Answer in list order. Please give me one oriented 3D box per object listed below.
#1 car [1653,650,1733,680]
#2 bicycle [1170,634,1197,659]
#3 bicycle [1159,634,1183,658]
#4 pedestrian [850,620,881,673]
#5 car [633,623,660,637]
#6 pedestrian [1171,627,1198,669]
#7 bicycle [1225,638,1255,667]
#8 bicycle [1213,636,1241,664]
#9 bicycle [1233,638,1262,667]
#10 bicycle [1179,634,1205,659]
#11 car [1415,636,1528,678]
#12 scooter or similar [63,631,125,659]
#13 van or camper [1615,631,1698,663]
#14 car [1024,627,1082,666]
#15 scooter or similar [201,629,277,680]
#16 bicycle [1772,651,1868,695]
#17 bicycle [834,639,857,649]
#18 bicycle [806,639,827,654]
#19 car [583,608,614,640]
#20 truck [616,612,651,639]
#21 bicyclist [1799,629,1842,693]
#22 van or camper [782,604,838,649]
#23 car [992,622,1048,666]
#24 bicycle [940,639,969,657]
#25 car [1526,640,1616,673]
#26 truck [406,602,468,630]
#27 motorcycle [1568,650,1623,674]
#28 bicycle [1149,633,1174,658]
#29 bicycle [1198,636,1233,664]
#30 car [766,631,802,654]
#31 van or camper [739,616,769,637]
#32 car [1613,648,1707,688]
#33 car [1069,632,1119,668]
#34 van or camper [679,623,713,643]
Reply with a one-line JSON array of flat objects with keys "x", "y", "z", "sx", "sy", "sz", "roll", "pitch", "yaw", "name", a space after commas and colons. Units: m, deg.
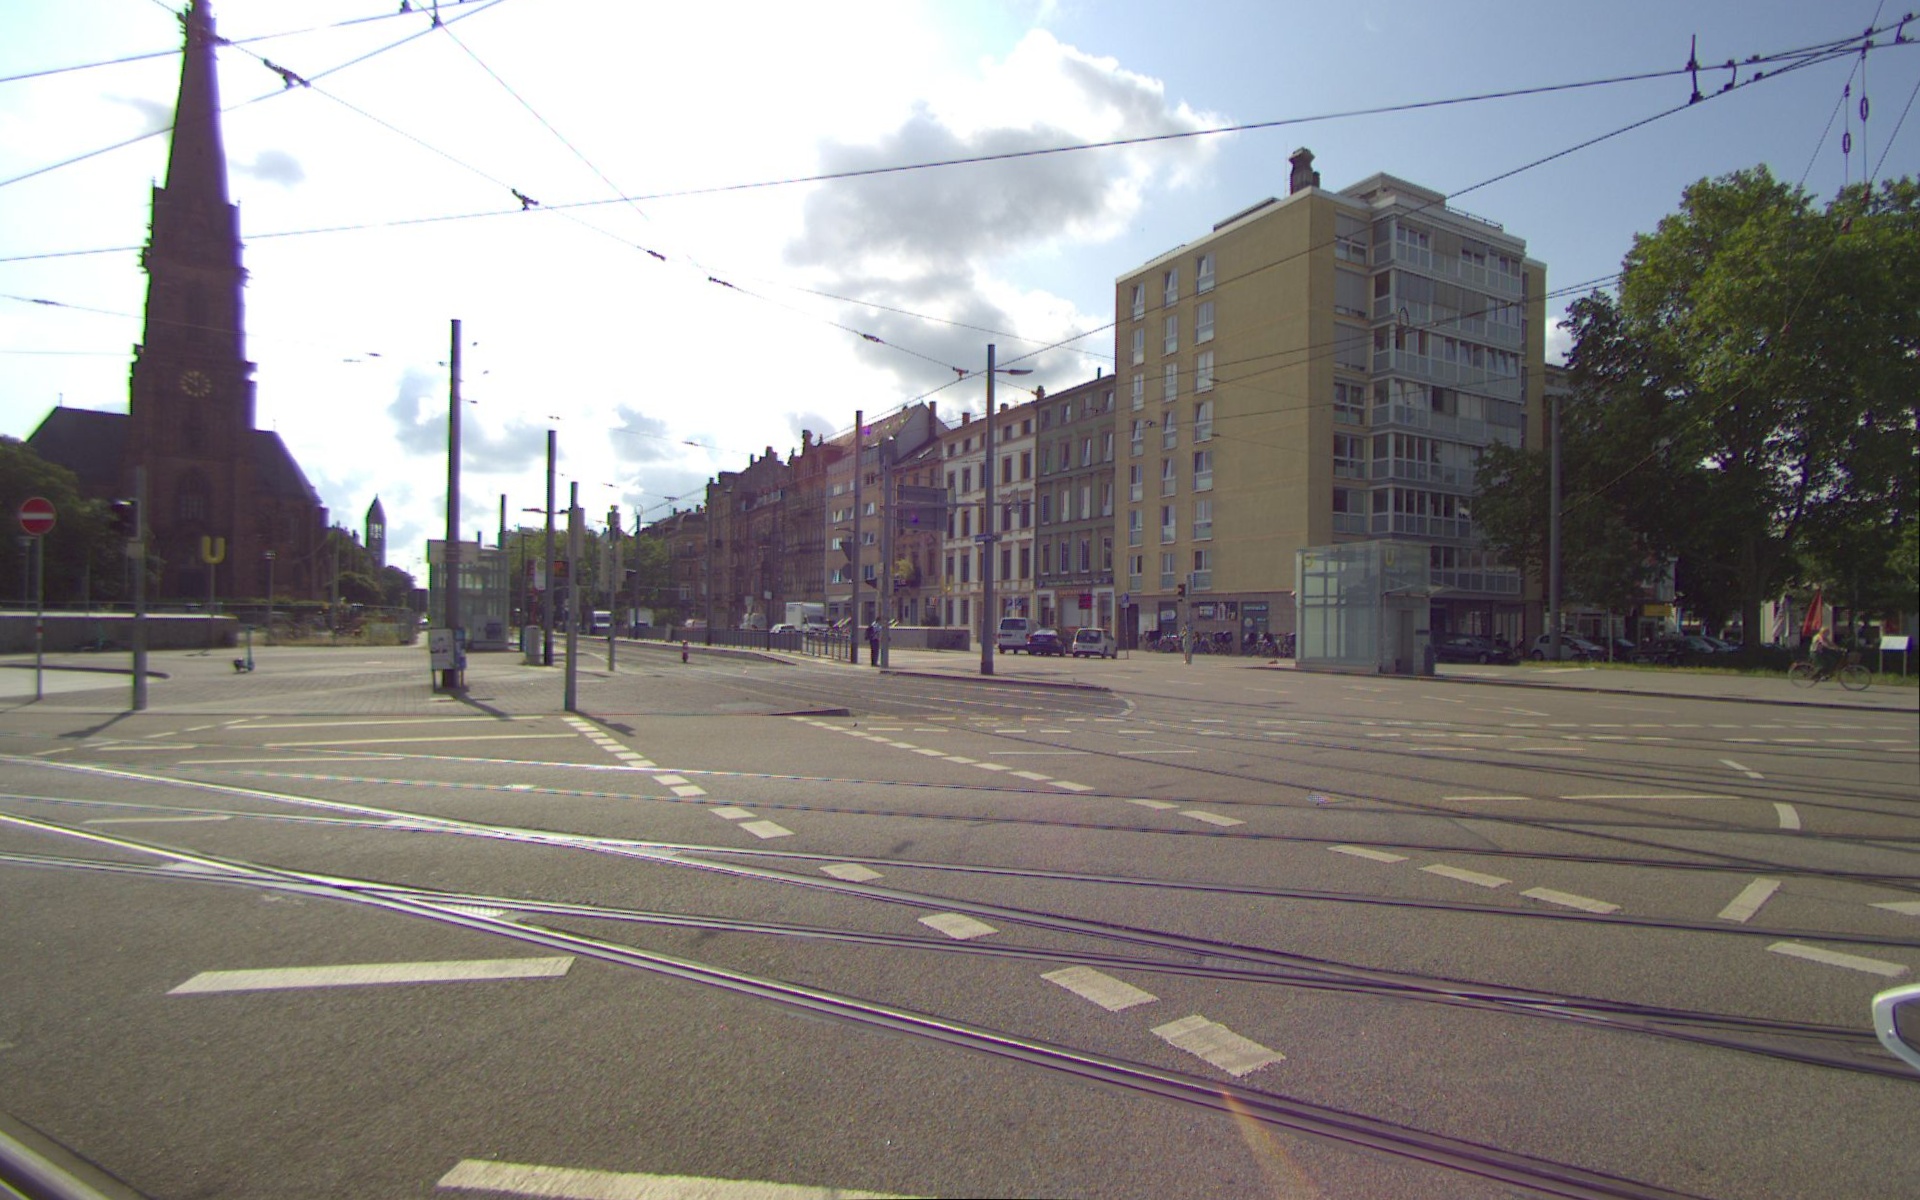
[{"x": 44.562, "y": 3.919, "z": 61.128, "sx": 1.644, "sy": 1.615, "sz": 3.597, "roll": 2, "pitch": -1, "yaw": -25, "name": "car"}, {"x": 12.241, "y": 2.556, "z": 55.127, "sx": 0.541, "sy": 1.218, "sz": 1.635, "roll": 0, "pitch": 4, "yaw": -24, "name": "bicycle"}, {"x": 11.947, "y": 2.587, "z": 56.919, "sx": 0.481, "sy": 1.218, "sz": 1.635, "roll": 0, "pitch": 4, "yaw": -24, "name": "bicycle"}, {"x": -3.228, "y": 1.572, "z": 34.277, "sx": 0.835, "sy": 1.696, "sz": 0.788, "roll": -2, "pitch": 4, "yaw": -31, "name": "pedestrian"}, {"x": -34.266, "y": 3.253, "z": 109.896, "sx": 1.977, "sy": 1.528, "sz": 3.968, "roll": 2, "pitch": -2, "yaw": -30, "name": "car"}, {"x": 9.531, "y": 2.030, "z": 42.630, "sx": 0.773, "sy": 1.783, "sz": 0.992, "roll": 0, "pitch": -2, "yaw": 37, "name": "pedestrian"}, {"x": 14.402, "y": 2.679, "z": 51.669, "sx": 0.524, "sy": 1.289, "sz": 1.635, "roll": 0, "pitch": 4, "yaw": -24, "name": "bicycle"}, {"x": 14.126, "y": 2.639, "z": 53.123, "sx": 0.481, "sy": 1.289, "sz": 1.635, "roll": 0, "pitch": 4, "yaw": -24, "name": "bicycle"}, {"x": 14.869, "y": 2.694, "z": 51.928, "sx": 0.481, "sy": 1.289, "sz": 1.635, "roll": 0, "pitch": 4, "yaw": -24, "name": "bicycle"}, {"x": 12.759, "y": 2.571, "z": 55.332, "sx": 0.481, "sy": 1.218, "sz": 1.635, "roll": 0, "pitch": 4, "yaw": -24, "name": "bicycle"}, {"x": 23.997, "y": 2.649, "z": 47.299, "sx": 1.977, "sy": 1.606, "sz": 4.356, "roll": 2, "pitch": 0, "yaw": -30, "name": "car"}, {"x": -30.572, "y": 1.577, "z": 35.499, "sx": 0.464, "sy": 0.962, "sz": 1.664, "roll": 0, "pitch": -2, "yaw": 16, "name": "scooter or similar"}, {"x": 59.158, "y": 3.975, "z": 85.527, "sx": 2.350, "sy": 2.501, "sz": 5.886, "roll": 1, "pitch": -1, "yaw": -10, "name": "van or camper"}, {"x": 4.896, "y": 2.376, "z": 52.207, "sx": 1.853, "sy": 1.488, "sz": 5.063, "roll": 2, "pitch": 3, "yaw": 19, "name": "car"}, {"x": -18.386, "y": 1.378, "z": 25.651, "sx": 1.321, "sy": 1.205, "sz": 1.484, "roll": 2, "pitch": -1, "yaw": -27, "name": "scooter or similar"}, {"x": 24.396, "y": 2.053, "z": 28.510, "sx": 0.783, "sy": 1.142, "sz": 1.969, "roll": 2, "pitch": -1, "yaw": -40, "name": "bicycle"}, {"x": -8.893, "y": 3.410, "z": 78.039, "sx": 1.736, "sy": 0.594, "sz": 0.638, "roll": 2, "pitch": 3, "yaw": 21, "name": "bicycle"}, {"x": -11.687, "y": 3.812, "z": 81.934, "sx": 1.750, "sy": 1.100, "sz": 0.368, "roll": -1, "pitch": 5, "yaw": -41, "name": "bicycle"}, {"x": -35.900, "y": 2.343, "z": 99.570, "sx": 1.976, "sy": 2.658, "sz": 5.536, "roll": -2, "pitch": 4, "yaw": -29, "name": "car"}, {"x": -41.495, "y": 3.241, "z": 127.481, "sx": 3.140, "sy": 3.329, "sz": 7.244, "roll": 1, "pitch": -1, "yaw": -28, "name": "truck"}, {"x": 24.411, "y": 1.718, "z": 28.493, "sx": 0.706, "sy": 1.768, "sz": 0.818, "roll": 2, "pitch": -1, "yaw": -41, "name": "bicyclist"}, {"x": -13.394, "y": 2.287, "z": 89.284, "sx": 2.686, "sy": 3.376, "sz": 7.584, "roll": -1, "pitch": 3, "yaw": -27, "name": "van or camper"}, {"x": 3.429, "y": 2.391, "z": 56.015, "sx": 2.038, "sy": 2.113, "sz": 4.900, "roll": 2, "pitch": 2, "yaw": 16, "name": "car"}, {"x": -0.334, "y": 2.937, "z": 61.339, "sx": 1.762, "sy": 1.017, "sz": 0.507, "roll": 2, "pitch": 2, "yaw": -37, "name": "bicycle"}, {"x": 32.276, "y": 2.967, "z": 53.130, "sx": 1.976, "sy": 1.550, "sz": 3.546, "roll": 2, "pitch": -1, "yaw": -29, "name": "car"}, {"x": -71.557, "y": 2.187, "z": 137.587, "sx": 7.346, "sy": 3.696, "sz": 2.457, "roll": 1, "pitch": -1, "yaw": -24, "name": "truck"}, {"x": 26.466, "y": 2.575, "z": 41.850, "sx": 1.857, "sy": 0.915, "sz": 0.605, "roll": 1, "pitch": 1, "yaw": 18, "name": "motorcycle"}, {"x": 11.391, "y": 2.573, "z": 56.843, "sx": 0.481, "sy": 1.218, "sz": 1.635, "roll": 0, "pitch": 4, "yaw": -24, "name": "bicycle"}, {"x": 13.488, "y": 2.625, "z": 53.126, "sx": 0.483, "sy": 1.289, "sz": 1.870, "roll": -2, "pitch": 4, "yaw": -36, "name": "bicycle"}, {"x": -14.984, "y": 3.603, "z": 85.244, "sx": 1.773, "sy": 1.457, "sz": 4.312, "roll": -4, "pitch": 5, "yaw": -27, "name": "car"}, {"x": -25.088, "y": 3.248, "z": 122.075, "sx": 1.975, "sy": 2.506, "sz": 5.524, "roll": 2, "pitch": -2, "yaw": -28, "name": "van or camper"}, {"x": 31.578, "y": 3.048, "z": 45.312, "sx": 3.948, "sy": 1.439, "sz": 1.784, "roll": 0, "pitch": 4, "yaw": -27, "name": "car"}, {"x": 6.698, "y": 2.431, "z": 49.826, "sx": 1.686, "sy": 1.460, "sz": 3.511, "roll": 3, "pitch": 2, "yaw": 20, "name": "car"}, {"x": -26.453, "y": 3.283, "z": 100.411, "sx": 1.994, "sy": 1.940, "sz": 4.482, "roll": 2, "pitch": -1, "yaw": -33, "name": "van or camper"}]
